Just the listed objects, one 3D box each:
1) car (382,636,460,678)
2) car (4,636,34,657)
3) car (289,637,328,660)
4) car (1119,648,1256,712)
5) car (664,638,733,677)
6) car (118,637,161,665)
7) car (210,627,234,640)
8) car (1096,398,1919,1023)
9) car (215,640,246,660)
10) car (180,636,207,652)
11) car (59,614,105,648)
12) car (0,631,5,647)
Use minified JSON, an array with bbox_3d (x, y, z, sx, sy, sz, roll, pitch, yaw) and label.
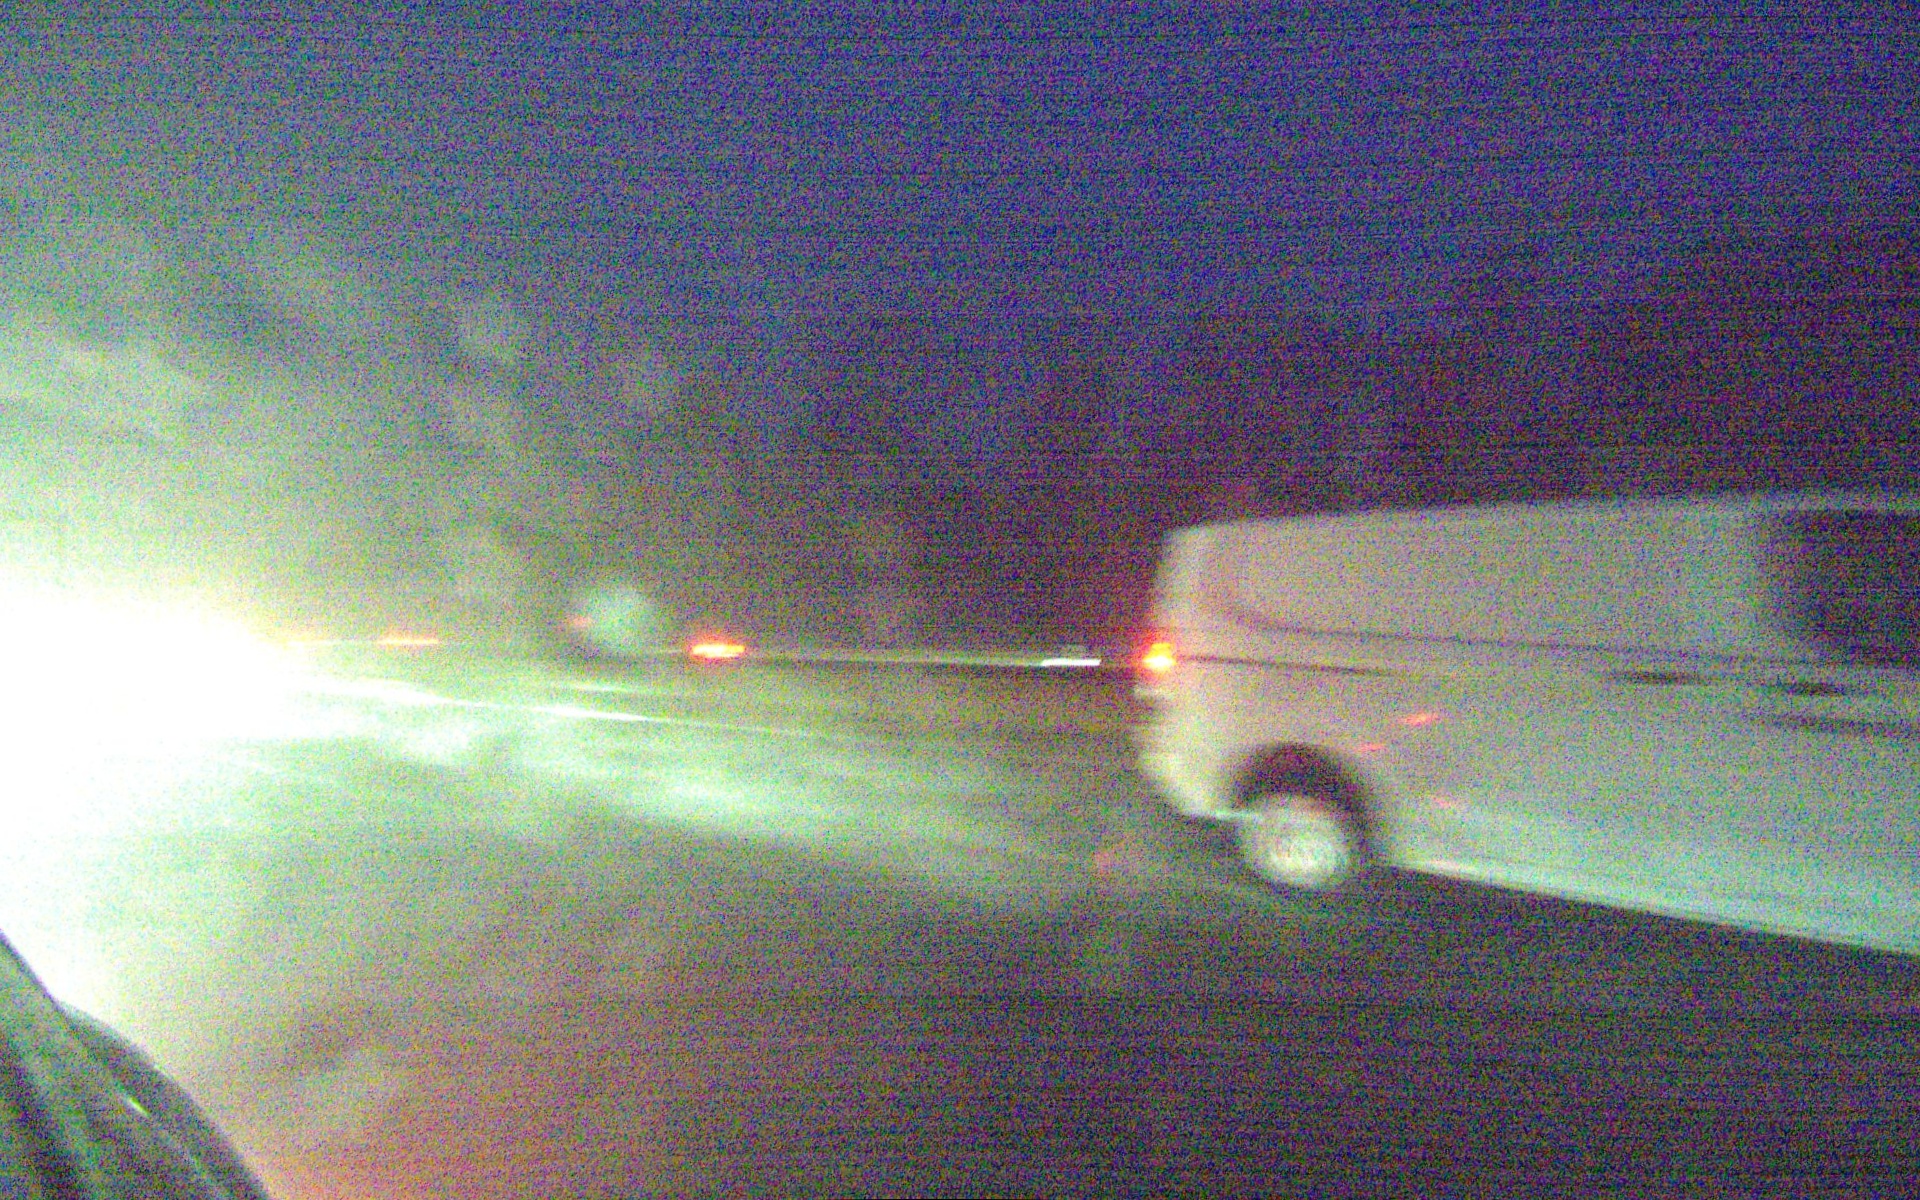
[{"bbox_3d":[-22.236,2.312,41.699,3.522,1.557,1.700,-1,0,41],"label":"car"},{"bbox_3d":[-93.229,4.566,100.282,3.998,1.897,1.764,-1,0,41],"label":"car"},{"bbox_3d":[-50.953,3.761,79.138,3.789,1.622,1.605,-1,0,41],"label":"car"},{"bbox_3d":[7.182,2.474,32.112,3.811,1.724,1.851,-1,0,40],"label":"car"},{"bbox_3d":[-12.793,2.784,49.460,3.411,1.705,1.620,-1,0,41],"label":"car"},{"bbox_3d":[-58.193,3.593,71.754,3.998,1.789,1.723,-1,0,41],"label":"car"},{"bbox_3d":[-105.746,4.759,144.970,4.172,1.802,1.870,-1,0,41],"label":"car"},{"bbox_3d":[3.573,0.382,4.550,5.625,2.120,2.102,-1,-1,40],"label":"car"},{"bbox_3d":[-76.734,5.271,106.445,3.998,1.962,1.799,-1,0,41],"label":"car"},{"bbox_3d":[-92.592,5.316,122.175,3.997,1.702,1.794,-1,0,41],"label":"car"},{"bbox_3d":[-89.114,3.080,102.657,6.319,3.229,2.680,-1,0,41],"label":"car"},{"bbox_3d":[-125.167,5.046,130.729,3.998,2.029,2.185,-1,0,41],"label":"car"}]
